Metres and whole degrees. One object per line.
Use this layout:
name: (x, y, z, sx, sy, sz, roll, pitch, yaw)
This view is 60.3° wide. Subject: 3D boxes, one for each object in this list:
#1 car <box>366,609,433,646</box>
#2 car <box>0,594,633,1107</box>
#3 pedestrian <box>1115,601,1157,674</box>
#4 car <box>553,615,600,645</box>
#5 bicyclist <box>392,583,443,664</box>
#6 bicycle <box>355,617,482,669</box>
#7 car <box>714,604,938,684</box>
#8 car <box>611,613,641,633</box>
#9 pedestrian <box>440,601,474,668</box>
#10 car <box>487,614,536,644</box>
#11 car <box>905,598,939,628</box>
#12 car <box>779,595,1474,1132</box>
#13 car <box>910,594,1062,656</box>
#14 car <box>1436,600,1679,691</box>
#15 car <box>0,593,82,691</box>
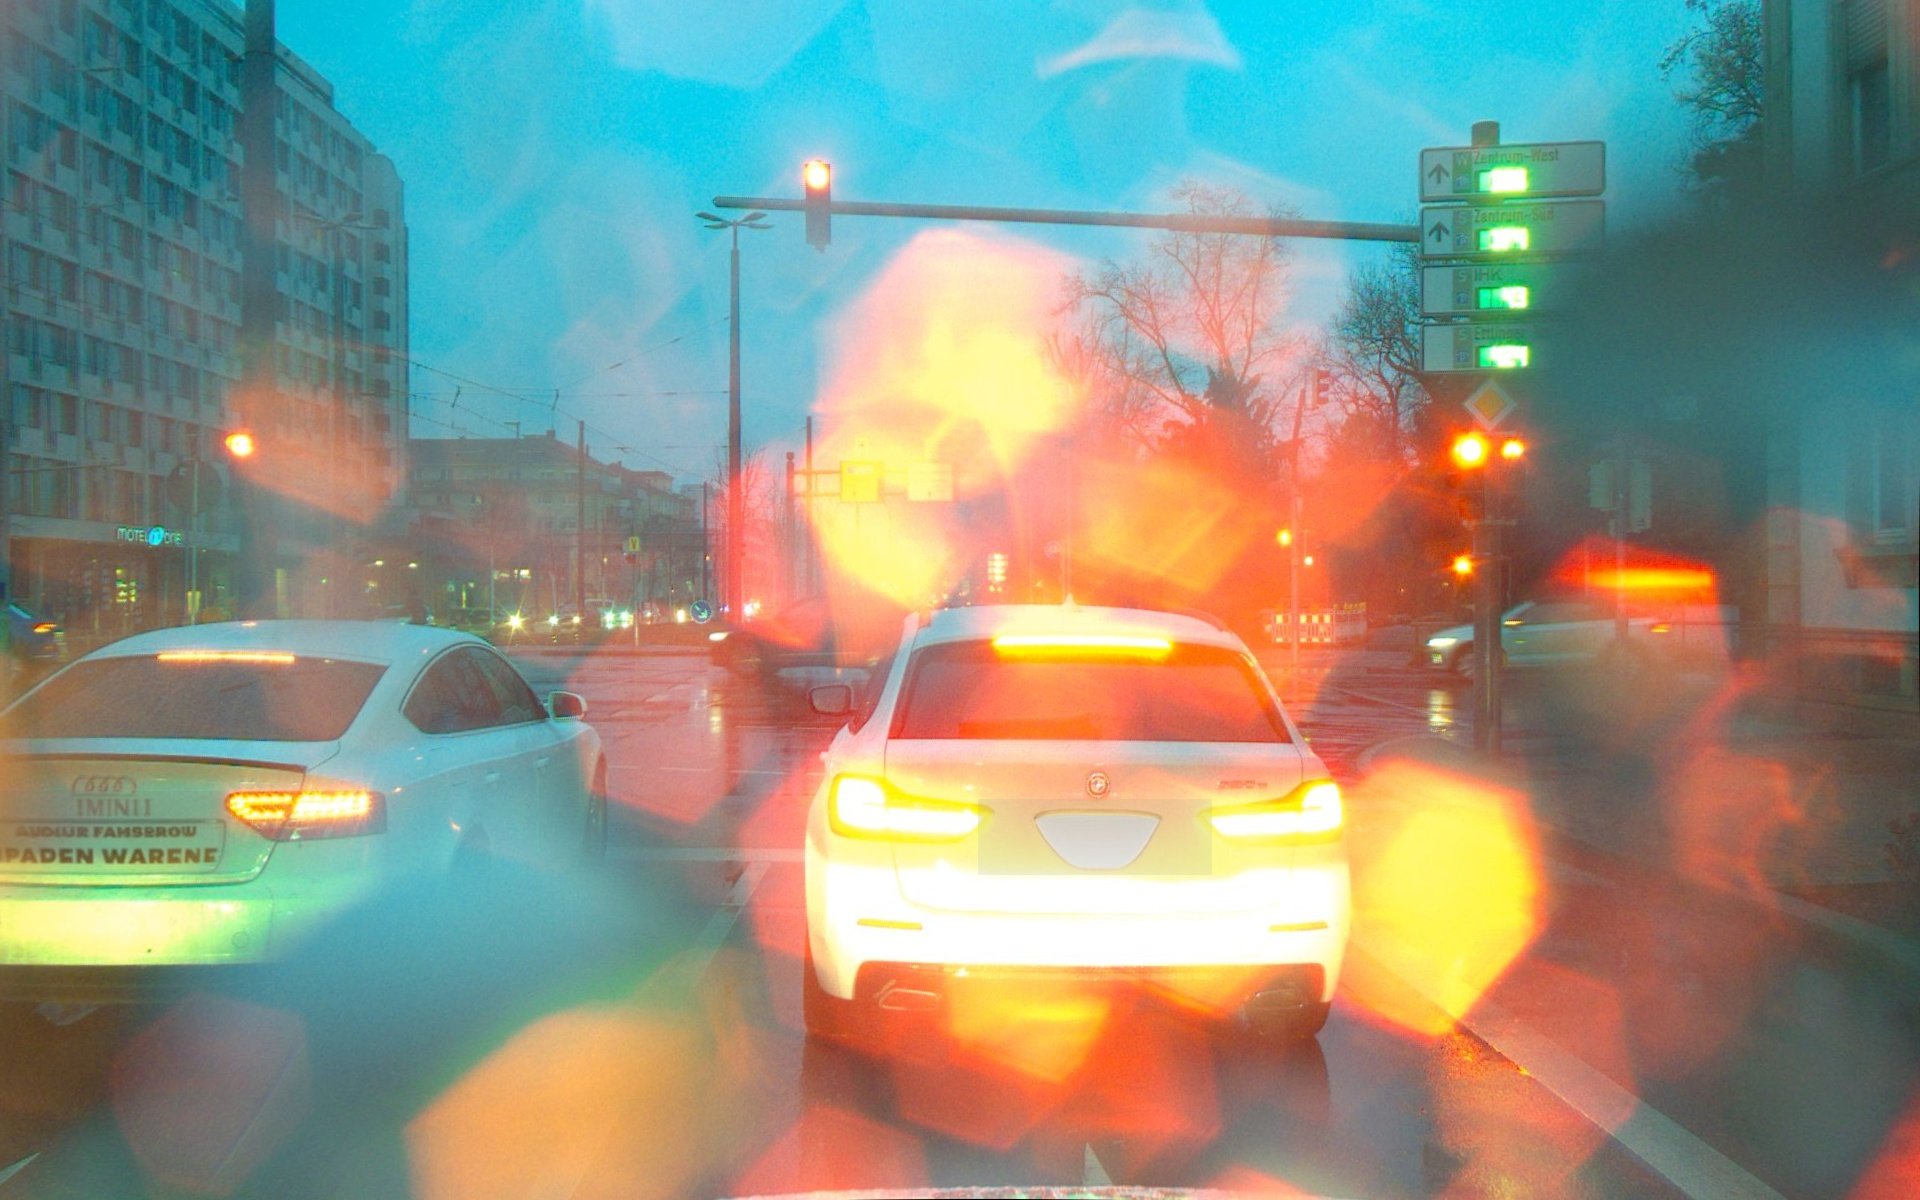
car: (-24.090, 1.180, 71.251, 1.641, 1.534, 3.695, 1, -1, -1)
car: (-2.703, 0.722, 6.989, 1.954, 1.481, 4.366, 0, 0, -3)
pedestrian: (4.663, 0.983, 43.816, 0.884, 1.888, 0.812, 1, -1, 23)
car: (-20.530, 1.604, 88.645, 1.641, 1.534, 3.695, 1, -1, -1)
bicyclist: (-12.292, 0.526, 37.498, 0.955, 1.789, 0.811, 2, -1, -12)
bicycle: (-12.252, 0.981, 37.505, 2.619, 1.108, 0.813, 2, -1, -11)
car: (-2.540, 0.835, 31.943, 4.005, 1.466, 1.841, 0, -1, 8)
car: (-26.861, 1.833, 133.158, 1.641, 1.534, 3.695, 1, -1, -1)
pedestrian: (-13.418, 0.917, 44.134, 0.777, 1.741, 0.809, 2, -1, -16)
car: (-24.161, 1.548, 89.202, 1.641, 1.534, 3.695, 1, -1, -1)
car: (-2.149, 0.733, 91.986, 1.806, 1.637, 3.943, 1, -1, -2)
car: (0.379, 0.730, 6.817, 1.954, 1.481, 4.366, 0, 0, -3)
car: (0.601, 0.597, 40.935, 1.738, 1.426, 3.949, 2, -1, -36)
car: (10.733, 0.799, 29.928, 4.007, 1.556, 1.840, 0, -1, 18)
car: (-17.404, 0.684, 28.333, 3.930, 1.651, 1.708, 2, -1, -21)
